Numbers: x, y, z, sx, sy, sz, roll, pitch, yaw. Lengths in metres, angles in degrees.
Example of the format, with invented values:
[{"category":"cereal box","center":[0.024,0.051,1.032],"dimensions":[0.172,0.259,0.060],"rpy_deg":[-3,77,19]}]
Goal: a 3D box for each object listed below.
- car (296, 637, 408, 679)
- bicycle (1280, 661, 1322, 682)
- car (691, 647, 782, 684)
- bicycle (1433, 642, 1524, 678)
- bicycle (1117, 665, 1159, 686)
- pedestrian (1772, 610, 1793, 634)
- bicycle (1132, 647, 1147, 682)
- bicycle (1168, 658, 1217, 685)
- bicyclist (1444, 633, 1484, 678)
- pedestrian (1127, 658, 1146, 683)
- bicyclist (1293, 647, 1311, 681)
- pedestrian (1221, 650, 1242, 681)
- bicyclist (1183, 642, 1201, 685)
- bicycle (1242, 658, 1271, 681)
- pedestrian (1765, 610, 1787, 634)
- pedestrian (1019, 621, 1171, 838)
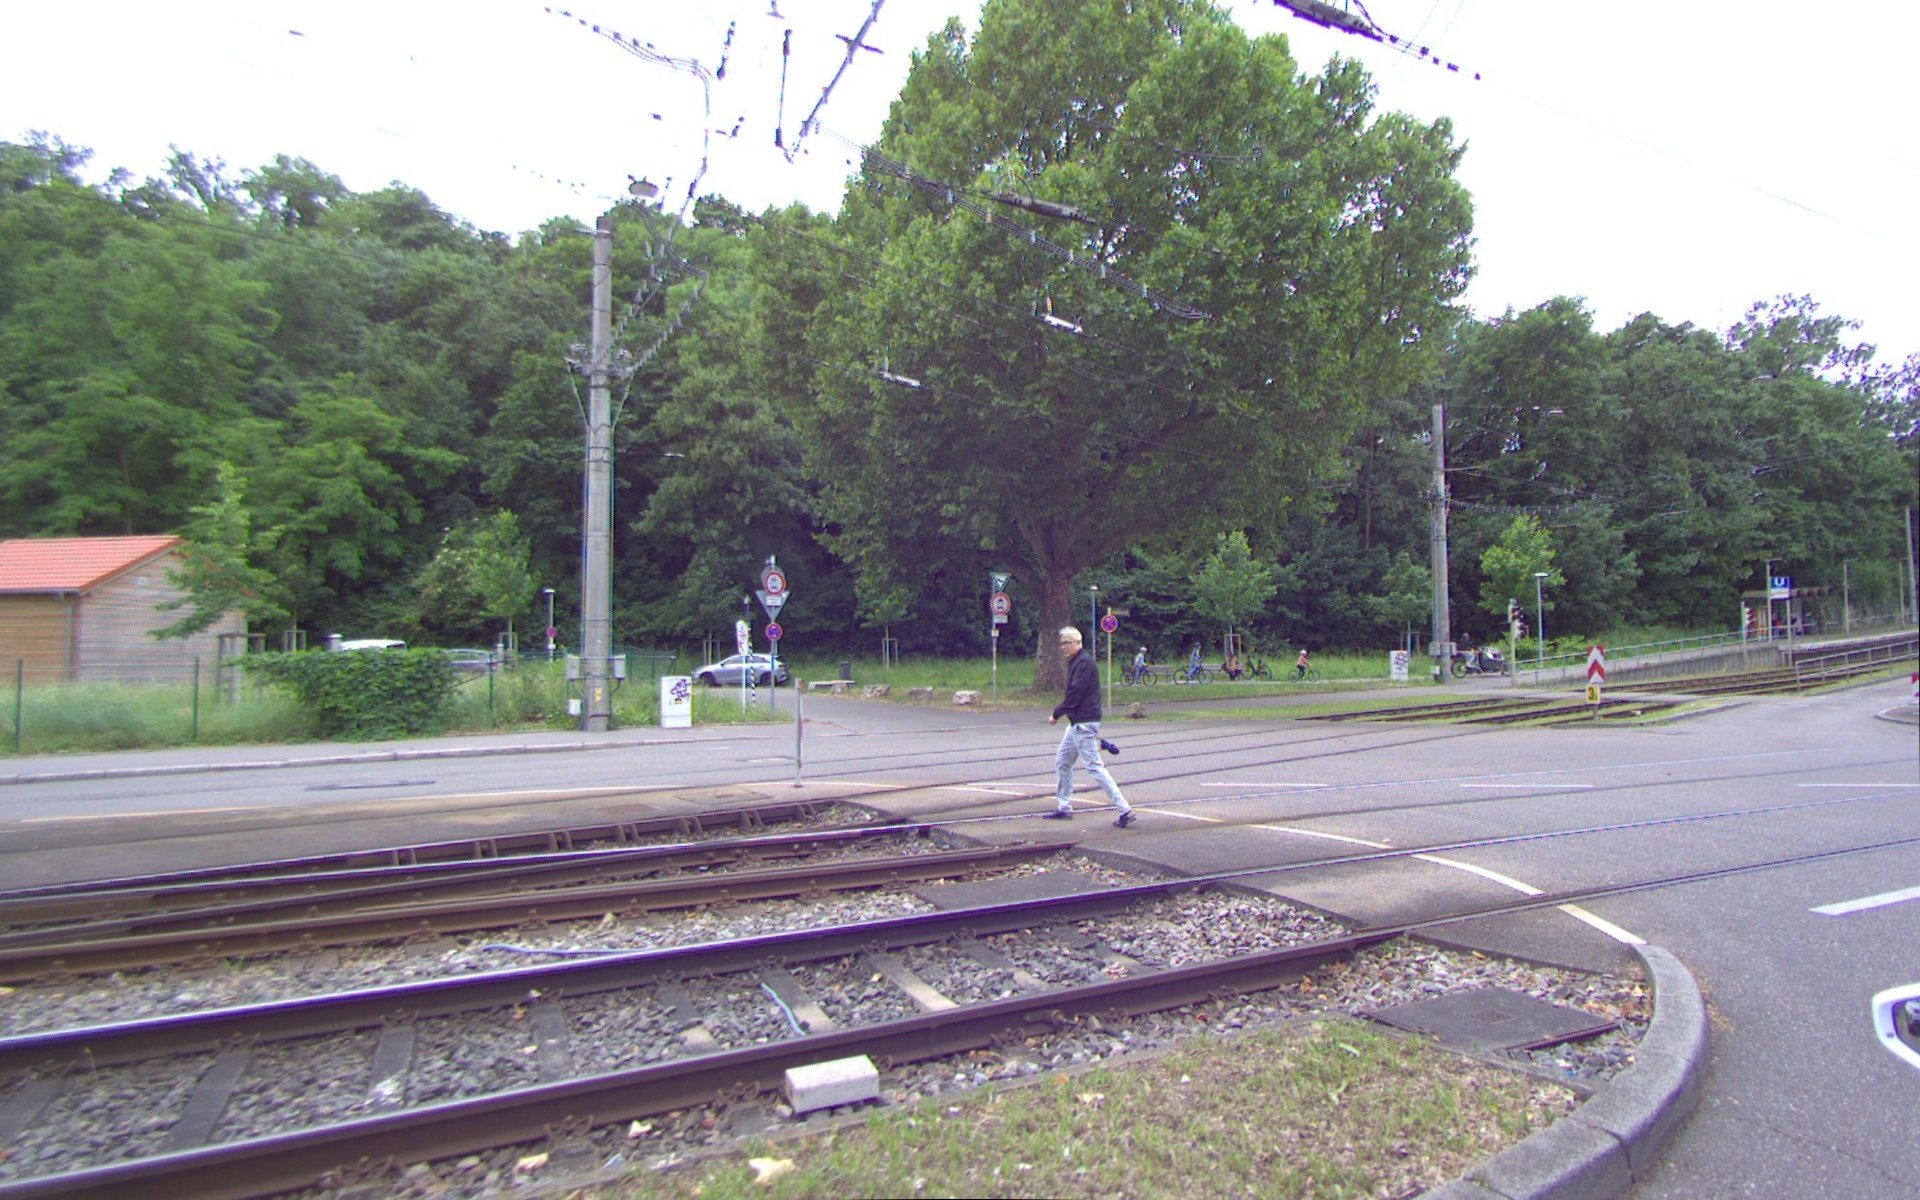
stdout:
[{"category":"car","center":[-26.098,2.490,43.205],"dimensions":[3.607,1.634,1.910],"rpy_deg":[1,-1,2]},{"category":"bicycle","center":[14.021,2.932,41.323],"dimensions":[1.527,0.748,0.455],"rpy_deg":[-3,2,6]},{"category":"car","center":[-9.523,2.790,42.955],"dimensions":[3.433,1.443,1.701],"rpy_deg":[1,-1,2]},{"category":"bicycle","center":[21.325,2.471,41.344],"dimensions":[3.279,1.307,0.735],"rpy_deg":[-2,1,3]},{"category":"bicycle","center":[7.191,3.041,40.612],"dimensions":[1.621,0.748,0.454],"rpy_deg":[-1,1,-4]},{"category":"pedestrian","center":[47.508,1.263,58.018],"dimensions":[0.778,1.344,0.767],"rpy_deg":[1,0,-32]},{"category":"bicycle","center":[7.251,2.605,40.611],"dimensions":[0.506,1.348,0.455],"rpy_deg":[-1,1,-3]},{"category":"bicycle","center":[9.456,2.908,40.886],"dimensions":[1.906,1.055,0.475],"rpy_deg":[-1,1,0]},{"category":"bicyclist","center":[20.738,2.277,41.355],"dimensions":[1.266,1.734,0.735],"rpy_deg":[-2,1,3]},{"category":"pedestrian","center":[7.477,2.985,42.561],"dimensions":[0.609,1.003,0.531],"rpy_deg":[1,0,-9]},{"category":"bicyclist","center":[14.071,2.631,41.300],"dimensions":[0.569,1.319,0.455],"rpy_deg":[-3,2,6]},{"category":"pedestrian","center":[11.579,2.791,42.816],"dimensions":[0.661,1.251,0.579],"rpy_deg":[1,0,-11]},{"category":"bicyclist","center":[9.426,2.583,40.883],"dimensions":[0.611,1.697,0.475],"rpy_deg":[-1,1,0]},{"category":"bicycle","center":[12.881,3.000,43.655],"dimensions":[0.610,0.897,1.745],"rpy_deg":[1,-1,-5]},{"category":"pedestrian","center":[46.706,1.262,57.494],"dimensions":[0.778,1.344,0.767],"rpy_deg":[-1,1,-32]},{"category":"pedestrian","center":[1.199,1.093,9.027],"dimensions":[0.805,1.783,1.110],"rpy_deg":[1,-1,-34]}]
